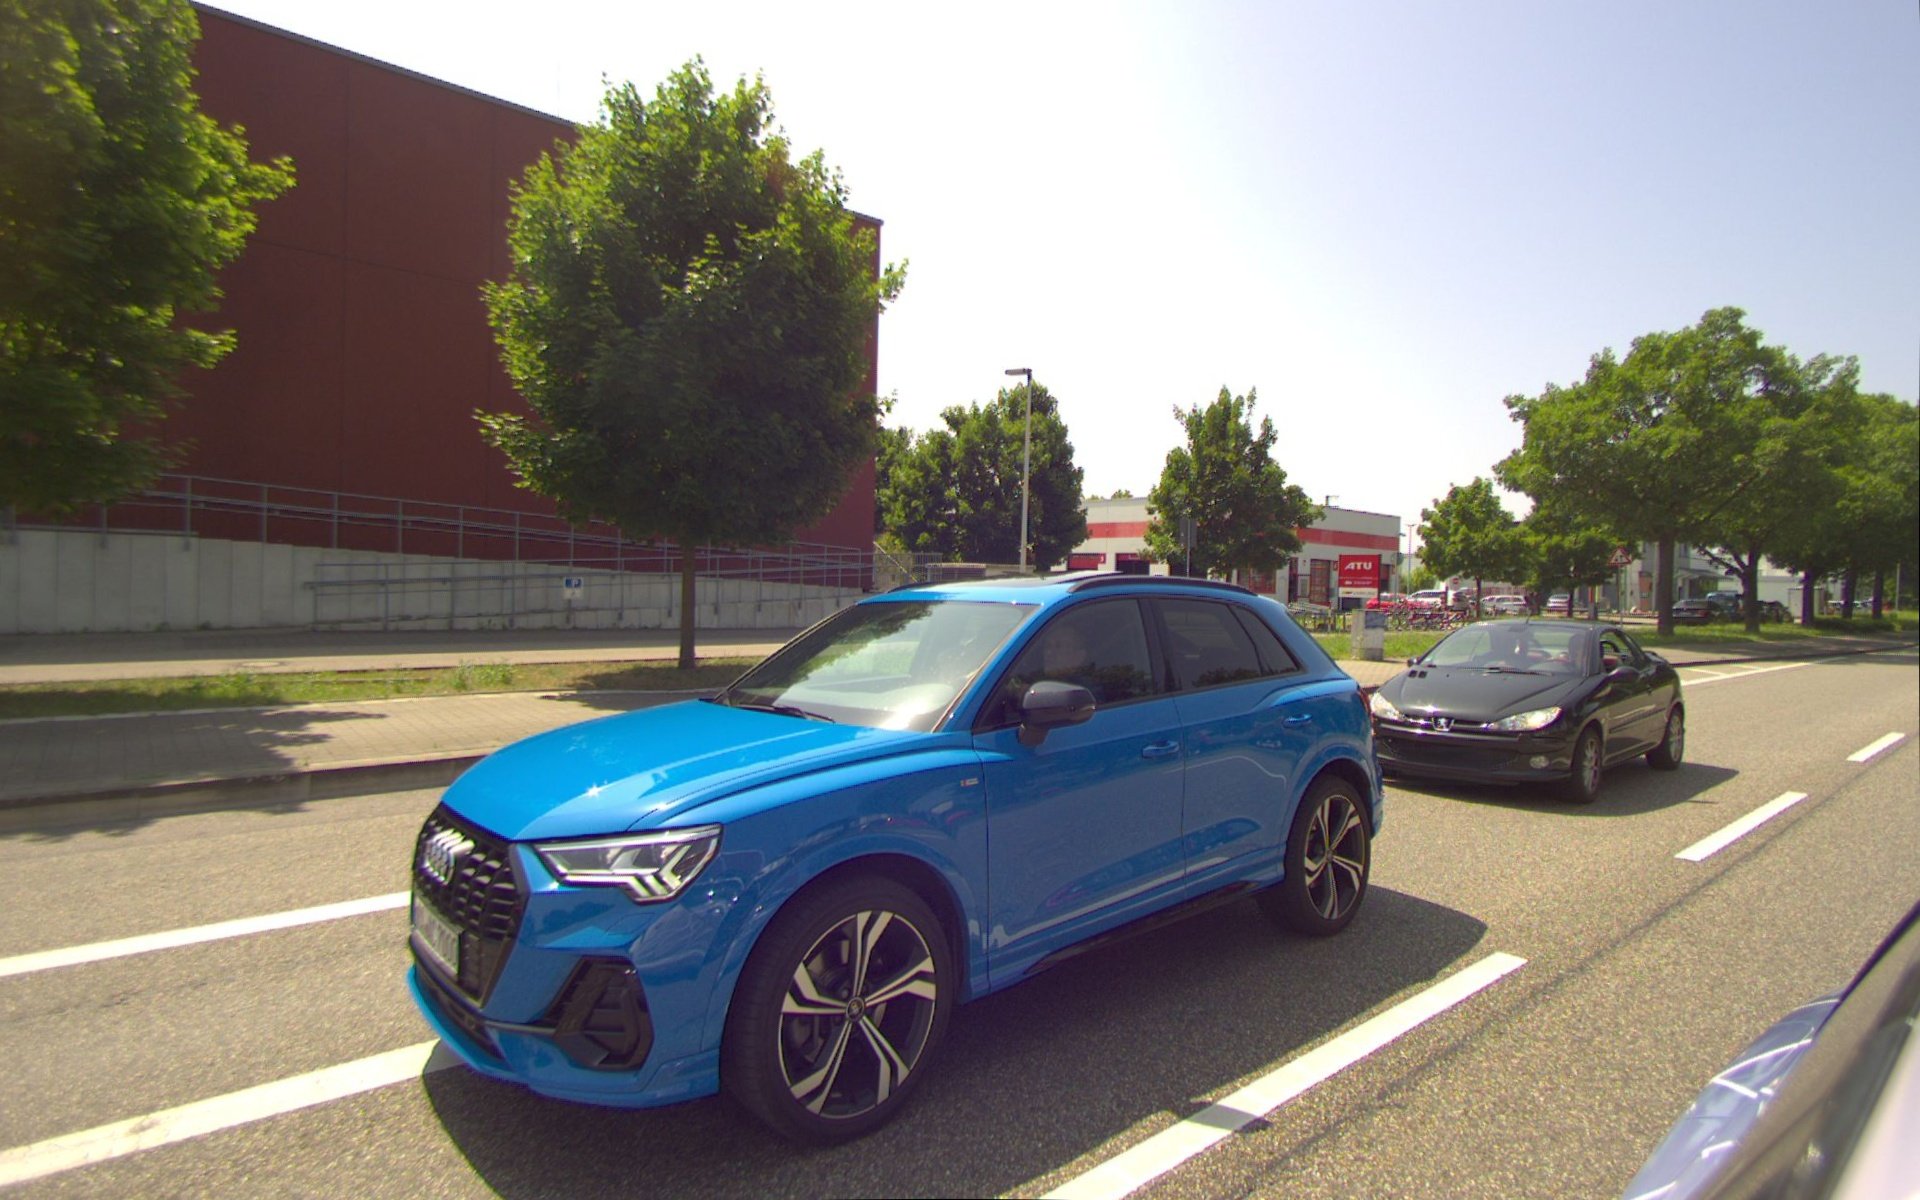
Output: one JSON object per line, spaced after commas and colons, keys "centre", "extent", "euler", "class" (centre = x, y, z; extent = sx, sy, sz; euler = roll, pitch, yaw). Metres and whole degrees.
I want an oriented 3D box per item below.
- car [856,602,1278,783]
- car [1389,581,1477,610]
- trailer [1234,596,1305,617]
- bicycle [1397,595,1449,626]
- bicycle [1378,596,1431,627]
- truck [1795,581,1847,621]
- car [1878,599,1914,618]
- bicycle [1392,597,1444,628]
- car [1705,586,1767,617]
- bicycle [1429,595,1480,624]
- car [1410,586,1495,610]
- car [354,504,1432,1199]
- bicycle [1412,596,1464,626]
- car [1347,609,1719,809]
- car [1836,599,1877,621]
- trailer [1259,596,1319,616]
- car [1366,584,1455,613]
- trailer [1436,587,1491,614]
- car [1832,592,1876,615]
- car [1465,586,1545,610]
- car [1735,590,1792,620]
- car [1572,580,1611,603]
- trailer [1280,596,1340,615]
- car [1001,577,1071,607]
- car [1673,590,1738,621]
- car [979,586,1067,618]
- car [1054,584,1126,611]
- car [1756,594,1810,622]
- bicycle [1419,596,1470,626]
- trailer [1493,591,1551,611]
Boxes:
{"centre": [1.159, 0.723, 9.685], "extent": [4.070, 1.388, 1.641], "euler": [0, -1, -39], "class": "car"}
{"centre": [25.765, -0.251, 55.255], "extent": [1.718, 1.419, 3.992], "euler": [1, 1, -43], "class": "car"}
{"centre": [12.961, 0.275, 42.468], "extent": [1.423, 0.771, 2.467], "euler": [0, 1, -39], "class": "trailer"}
{"centre": [18.248, 0.405, 39.868], "extent": [1.779, 1.138, 0.506], "euler": [2, 1, 44], "class": "bicycle"}
{"centre": [17.155, 0.440, 39.080], "extent": [1.779, 1.138, 0.506], "euler": [2, 1, 44], "class": "bicycle"}
{"centre": [57.293, 0.054, 67.297], "extent": [3.928, 2.599, 1.904], "euler": [1, 1, -39], "class": "truck"}
{"centre": [77.294, 0.731, 83.584], "extent": [3.929, 1.485, 1.719], "euler": [0, 1, -40], "class": "car"}
{"centre": [17.800, 0.487, 39.360], "extent": [1.779, 1.138, 0.506], "euler": [2, 1, 44], "class": "bicycle"}
{"centre": [40.150, 0.065, 52.325], "extent": [3.929, 1.485, 1.719], "euler": [0, 1, -40], "class": "car"}
{"centre": [20.004, 0.373, 40.951], "extent": [1.779, 1.138, 0.506], "euler": [2, 1, 44], "class": "bicycle"}
{"centre": [27.695, -0.107, 56.996], "extent": [1.718, 1.223, 3.992], "euler": [0, 1, -43], "class": "car"}
{"centre": [0.104, 0.594, 4.275], "extent": [4.323, 1.616, 1.840], "euler": [0, 1, -41], "class": "car"}
{"centre": [18.951, 0.422, 40.159], "extent": [1.779, 1.138, 0.506], "euler": [2, 1, 44], "class": "bicycle"}
{"centre": [5.134, 0.762, 8.853], "extent": [3.930, 1.361, 1.640], "euler": [0, -1, -41], "class": "car"}
{"centre": [66.623, 0.728, 75.215], "extent": [3.929, 1.485, 1.719], "euler": [0, 1, -40], "class": "car"}
{"centre": [14.210, 0.254, 43.790], "extent": [1.244, 0.771, 2.137], "euler": [0, 1, -39], "class": "trailer"}
{"centre": [24.110, -0.080, 54.245], "extent": [1.718, 1.419, 3.992], "euler": [1, 1, -43], "class": "car"}
{"centre": [30.568, 0.005, 61.498], "extent": [1.391, 1.546, 2.639], "euler": [1, 1, -43], "class": "trailer"}
{"centre": [62.350, 0.236, 70.566], "extent": [3.929, 1.485, 1.719], "euler": [0, 1, -40], "class": "car"}
{"centre": [33.206, -0.148, 61.764], "extent": [1.661, 1.317, 3.992], "euler": [1, 1, -43], "class": "car"}
{"centre": [44.318, 0.269, 55.809], "extent": [3.929, 1.539, 1.719], "euler": [0, 1, -40], "class": "car"}
{"centre": [46.700, -0.625, 74.753], "extent": [1.753, 1.616, 3.939], "euler": [2, 1, 42], "class": "car"}
{"centre": [15.526, 0.231, 44.893], "extent": [1.368, 0.771, 2.137], "euler": [0, 1, -39], "class": "trailer"}
{"centre": [4.451, -0.463, 59.029], "extent": [4.073, 1.683, 1.716], "euler": [0, 1, -41], "class": "car"}
{"centre": [35.636, 0.237, 48.357], "extent": [3.929, 1.388, 1.641], "euler": [0, 1, -40], "class": "car"}
{"centre": [2.822, 0.077, 44.862], "extent": [3.904, 1.329, 1.651], "euler": [0, 2, -41], "class": "car"}
{"centre": [7.274, -0.144, 56.283], "extent": [4.073, 1.390, 1.716], "euler": [0, 2, -41], "class": "car"}
{"centre": [48.592, 0.473, 59.730], "extent": [3.929, 1.532, 1.719], "euler": [0, 1, -40], "class": "car"}
{"centre": [19.450, 0.427, 40.656], "extent": [1.779, 1.138, 0.506], "euler": [2, 1, 44], "class": "bicycle"}
{"centre": [32.838, 0.048, 59.165], "extent": [1.551, 1.065, 2.639], "euler": [0, 1, -43], "class": "trailer"}
